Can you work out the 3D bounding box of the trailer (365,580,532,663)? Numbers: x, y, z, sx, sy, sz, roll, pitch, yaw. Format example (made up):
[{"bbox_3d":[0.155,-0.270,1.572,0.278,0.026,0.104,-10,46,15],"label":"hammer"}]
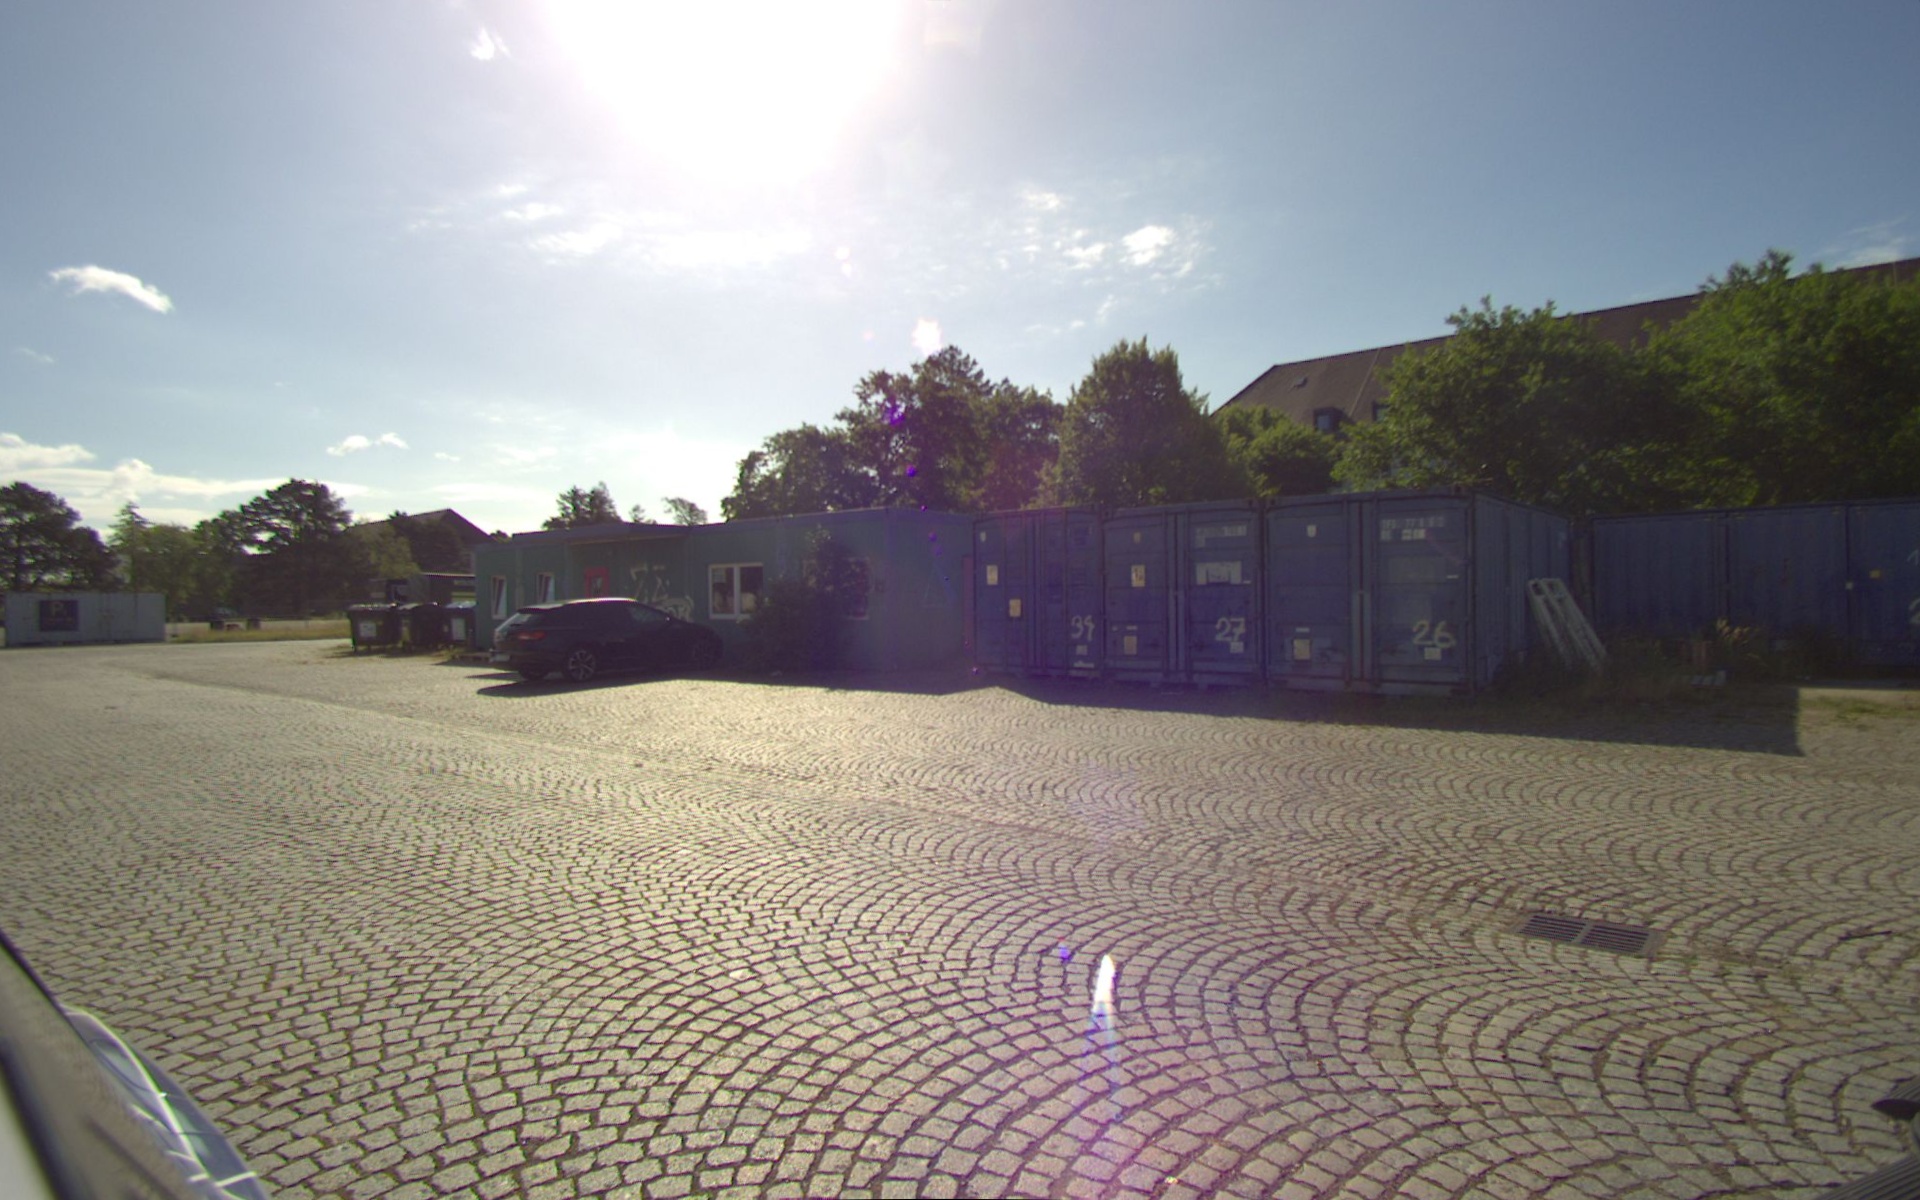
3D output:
[{"bbox_3d":[-16.996,0.641,33.849,1.948,2.587,4.594,-1,0,37],"label":"trailer"}]

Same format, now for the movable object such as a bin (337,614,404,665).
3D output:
[{"bbox_3d":[-17.984,1.186,30.895,1.416,1.469,1.158,-1,0,-6],"label":"movable object such as a bin"}]

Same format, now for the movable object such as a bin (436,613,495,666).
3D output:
[{"bbox_3d":[-14.331,1.118,29.345,1.435,1.469,0.876,-1,0,30],"label":"movable object such as a bin"}]

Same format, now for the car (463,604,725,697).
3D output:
[{"bbox_3d":[-6.699,0.847,18.891,1.929,1.460,4.210,-1,0,39],"label":"car"}]

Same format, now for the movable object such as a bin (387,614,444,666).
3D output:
[{"bbox_3d":[-16.076,1.152,29.882,1.439,1.469,1.007,-1,0,40],"label":"movable object such as a bin"}]

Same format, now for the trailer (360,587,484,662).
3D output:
[{"bbox_3d":[-18.823,0.796,35.478,2.044,2.488,3.349,-1,0,41],"label":"trailer"}]
